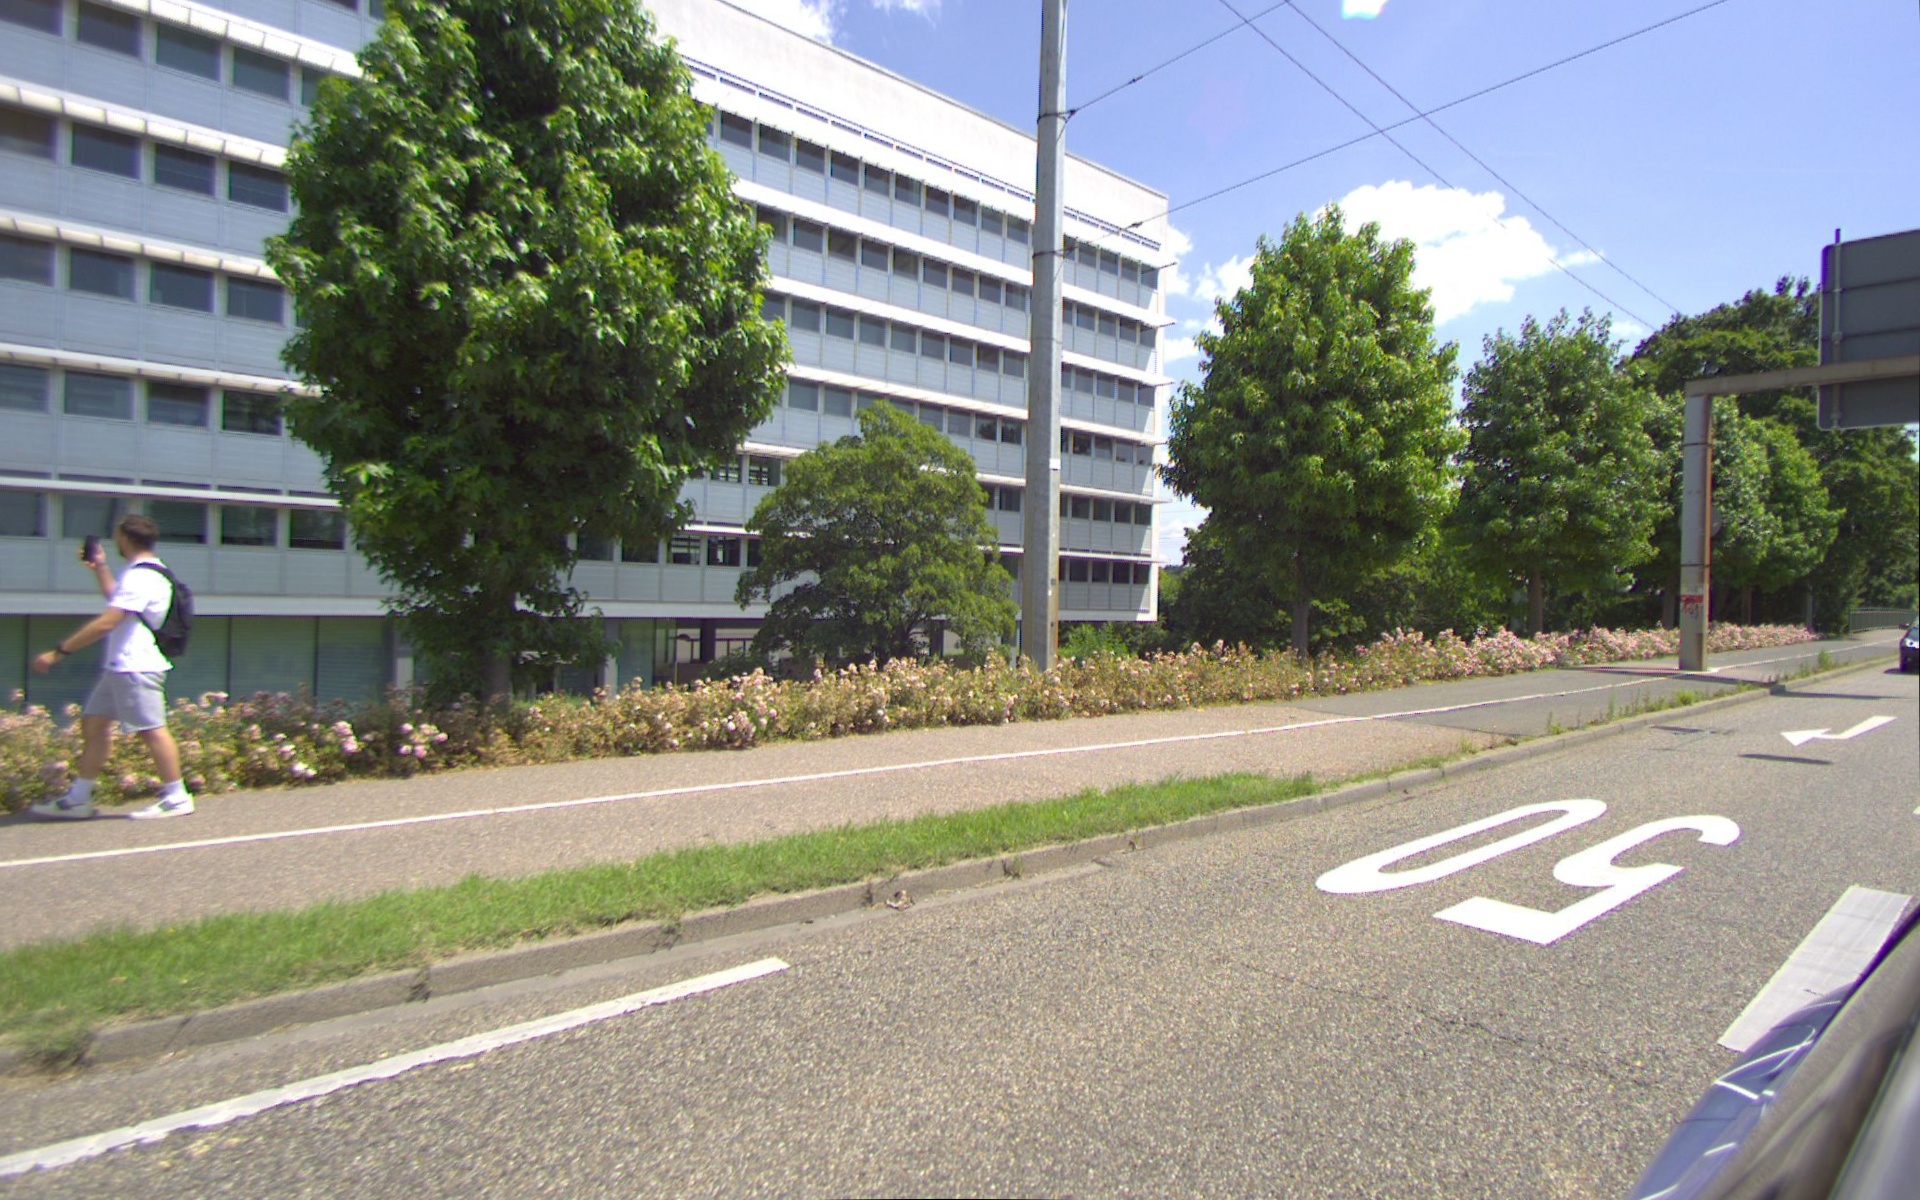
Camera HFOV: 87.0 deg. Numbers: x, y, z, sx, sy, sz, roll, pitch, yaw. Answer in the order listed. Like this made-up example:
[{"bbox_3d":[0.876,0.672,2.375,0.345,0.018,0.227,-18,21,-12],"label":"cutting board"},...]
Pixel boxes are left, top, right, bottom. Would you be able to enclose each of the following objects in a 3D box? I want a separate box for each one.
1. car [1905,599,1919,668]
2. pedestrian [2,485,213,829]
[{"bbox_3d":[23.584,0.741,23.636,4.027,1.546,1.763,0,-1,-41],"label":"car"},{"bbox_3d":[-5.080,0.308,6.086,0.914,1.872,0.758,0,-1,-39],"label":"pedestrian"}]
